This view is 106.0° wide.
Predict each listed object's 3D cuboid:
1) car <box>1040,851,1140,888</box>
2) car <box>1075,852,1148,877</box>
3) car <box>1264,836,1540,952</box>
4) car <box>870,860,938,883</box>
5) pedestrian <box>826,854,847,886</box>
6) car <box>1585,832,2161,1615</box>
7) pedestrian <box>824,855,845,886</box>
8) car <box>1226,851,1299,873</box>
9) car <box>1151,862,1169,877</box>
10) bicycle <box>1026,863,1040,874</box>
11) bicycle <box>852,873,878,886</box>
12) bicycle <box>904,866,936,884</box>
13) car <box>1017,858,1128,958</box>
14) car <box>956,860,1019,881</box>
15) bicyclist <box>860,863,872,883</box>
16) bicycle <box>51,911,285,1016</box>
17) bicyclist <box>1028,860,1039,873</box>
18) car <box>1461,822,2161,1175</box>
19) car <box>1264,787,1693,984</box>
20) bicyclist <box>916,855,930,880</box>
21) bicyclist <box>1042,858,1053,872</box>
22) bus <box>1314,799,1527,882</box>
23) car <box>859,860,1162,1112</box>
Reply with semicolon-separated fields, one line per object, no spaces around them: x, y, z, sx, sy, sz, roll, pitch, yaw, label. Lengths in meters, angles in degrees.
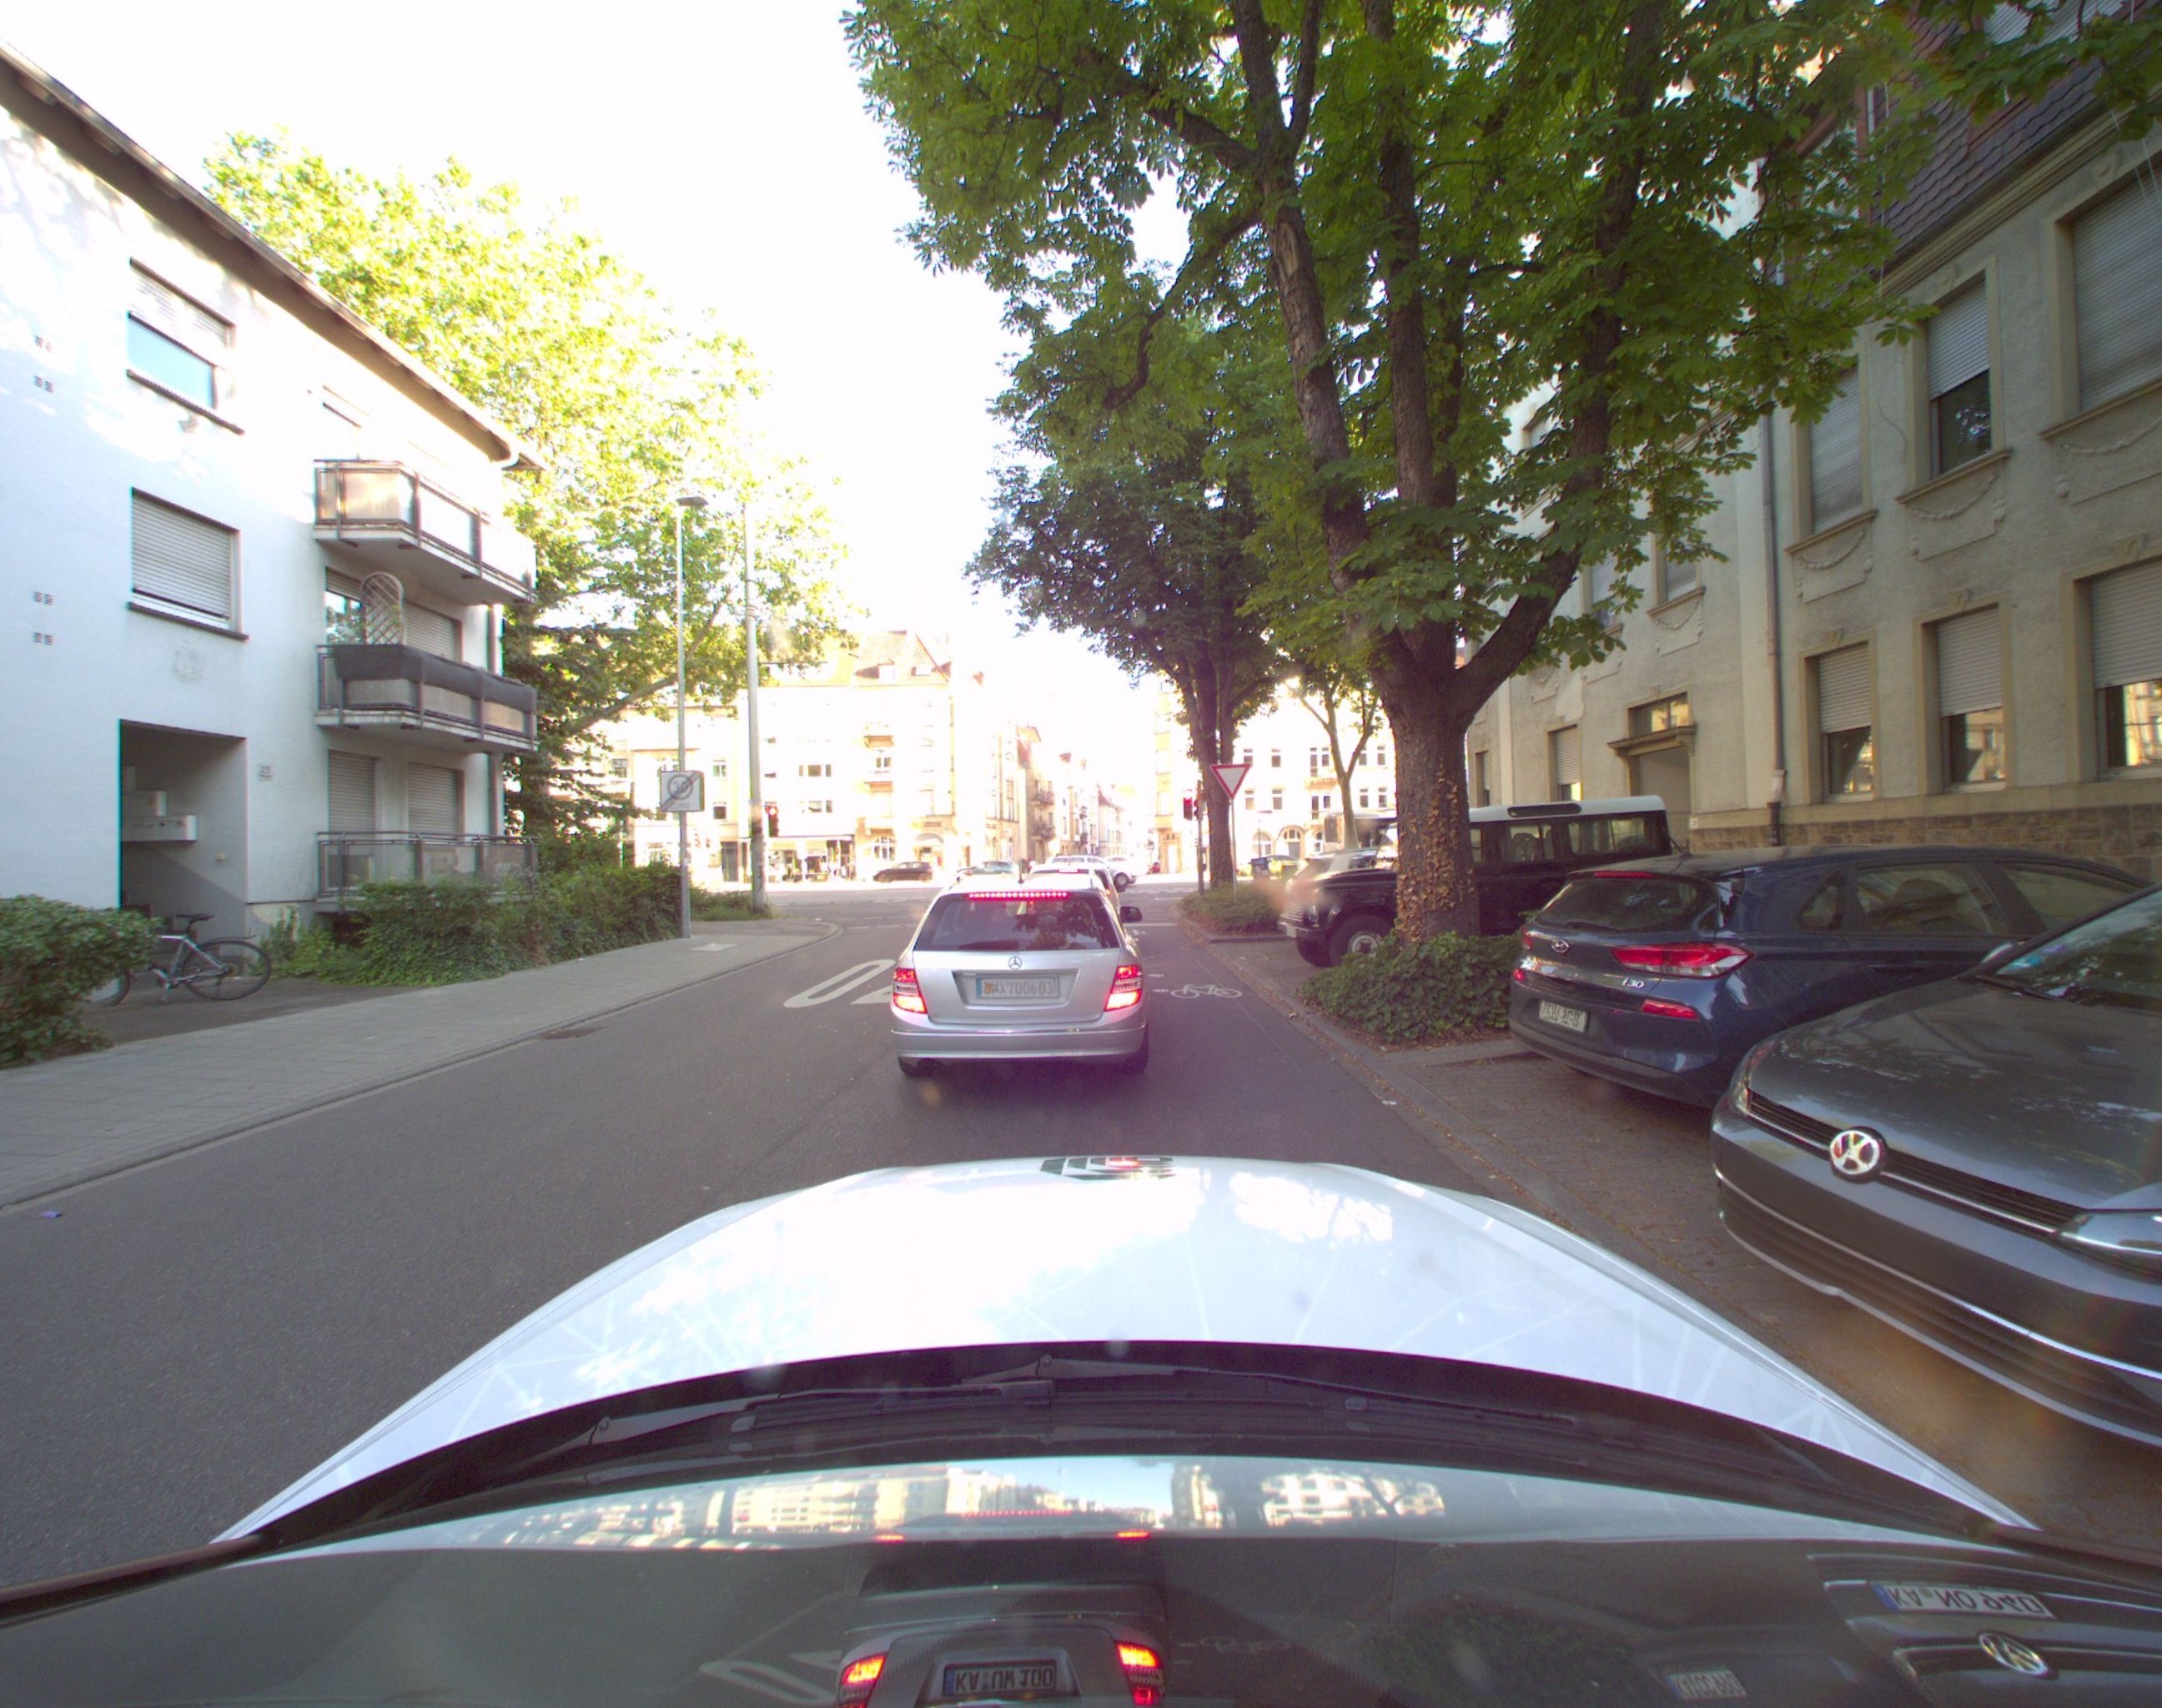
0.354;0.688;36.702;4.338;1.497;1.658;-2;0;-5;car
1.997;0.697;54.114;4.694;1.460;1.834;-2;0;-4;car
5.028;0.607;13.090;3.714;1.570;1.707;-3;-1;-2;car
-11.329;1.101;52.449;4.026;1.360;1.661;-2;0;-4;car
-19.410;1.267;64.566;1.343;2.464;1.059;-1;0;-3;pedestrian
4.031;0.643;2.384;4.042;1.452;1.722;-3;-1;-2;car
-19.860;1.287;65.690;1.343;2.464;1.059;-1;0;-3;pedestrian
13.164;0.602;59.197;4.871;1.452;1.857;-1;0;-2;car
9.873;1.875;101.859;1.824;1.744;4.012;-1;0;10;car
-4.327;1.321;73.647;0.765;0.940;1.947;-1;0;13;bicycle
-15.363;1.784;57.918;1.613;0.876;0.636;-1;0;-4;bicycle
-12.090;1.576;61.020;2.251;1.246;0.636;-1;0;-3;bicycle
-0.110;0.806;14.172;1.614;1.447;4.344;-1;0;0;car
-6.449;1.124;56.549;4.212;1.349;1.662;-1;0;-4;car
-15.302;1.344;57.924;0.642;1.426;0.636;-1;0;-3;bicyclist
-9.996;1.165;9.008;1.630;1.008;0.511;2;-2;-39;bicycle
-4.310;1.099;73.726;0.765;1.156;0.755;-1;0;13;bicyclist
4.396;0.625;4.556;3.714;1.452;1.707;-3;-1;-2;car
4.739;0.357;10.130;4.453;2.036;1.700;-3;-1;-2;car
-11.854;1.032;61.034;0.889;1.859;0.636;-1;0;-3;bicyclist
-3.010;1.009;73.706;0.765;1.290;0.755;-1;0;13;bicyclist
14.702;-0.590;35.569;8.166;3.201;2.905;-2;0;-7;bus
-0.404;0.791;7.083;1.771;1.452;4.547;-1;0;0;car
